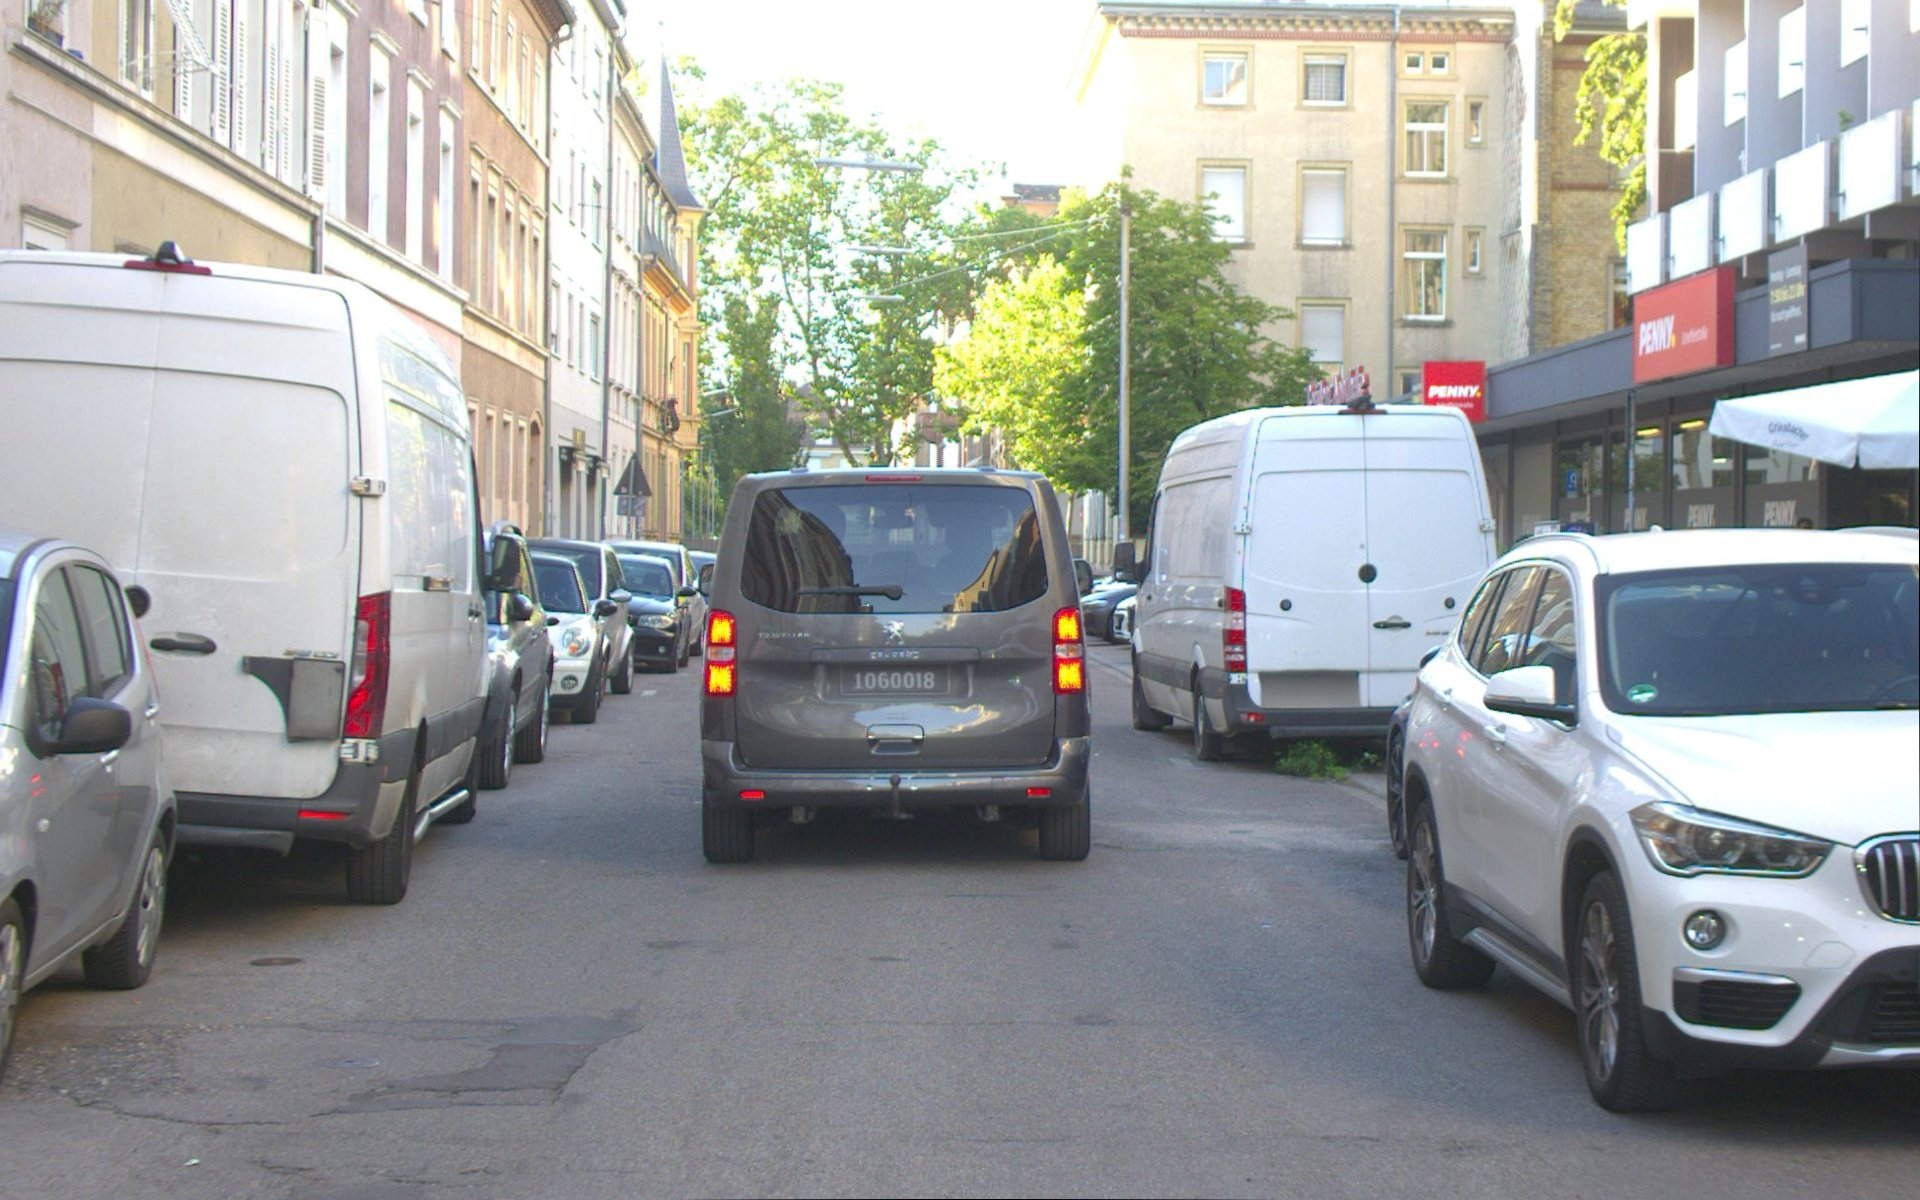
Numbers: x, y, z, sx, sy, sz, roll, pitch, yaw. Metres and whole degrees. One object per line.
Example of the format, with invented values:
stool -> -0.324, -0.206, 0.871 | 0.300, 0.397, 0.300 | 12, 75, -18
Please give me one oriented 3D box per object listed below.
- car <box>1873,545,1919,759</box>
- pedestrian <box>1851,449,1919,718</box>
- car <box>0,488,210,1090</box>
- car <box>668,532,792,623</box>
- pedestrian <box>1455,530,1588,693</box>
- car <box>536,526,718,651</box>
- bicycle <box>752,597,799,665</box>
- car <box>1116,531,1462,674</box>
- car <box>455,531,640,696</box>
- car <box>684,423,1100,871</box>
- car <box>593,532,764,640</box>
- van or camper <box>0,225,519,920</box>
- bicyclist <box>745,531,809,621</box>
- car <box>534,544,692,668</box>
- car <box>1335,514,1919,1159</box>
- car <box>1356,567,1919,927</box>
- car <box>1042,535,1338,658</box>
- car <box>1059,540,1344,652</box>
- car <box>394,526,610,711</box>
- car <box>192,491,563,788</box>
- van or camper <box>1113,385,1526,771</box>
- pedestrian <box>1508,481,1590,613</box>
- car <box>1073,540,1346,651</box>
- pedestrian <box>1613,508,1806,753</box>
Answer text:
car -> 7.407, 0.335, 24.004 | 1.602, 1.411, 3.225 | 1, 1, 22
pedestrian -> 7.900, -0.138, 27.951 | 0.872, 2.137, 0.956 | 0, 1, -17
car -> -3.491, 0.491, 10.689 | 1.590, 1.680, 3.653 | 2, 1, -2
car -> -4.207, -0.434, 62.696 | 2.144, 1.555, 4.585 | 1, 1, -4
pedestrian -> 6.019, 0.107, 36.848 | 0.932, 1.714, 1.063 | -1, 1, -35
car -> -4.563, -0.187, 47.755 | 1.993, 1.599, 4.585 | 2, 1, 1
bicycle -> -3.230, 0.536, 60.184 | 0.621, 1.134, 2.257 | 0, 1, 2
car -> 4.583, 0.018, 48.392 | 4.569, 1.852, 2.000 | 2, 1, -2
car -> -4.037, 0.107, 33.966 | 1.386, 1.527, 2.749 | 2, 1, 2
car -> -0.371, 0.177, 17.586 | 1.857, 2.007, 4.000 | -1, 1, -2
car -> -4.335, -0.241, 53.660 | 1.994, 1.555, 4.584 | 2, 1, 4
van or camper -> -3.383, -0.158, 16.650 | 1.949, 2.640, 7.142 | 0, 1, -3
bicyclist -> -3.217, -0.429, 60.578 | 1.034, 1.572, 0.833 | 0, 1, 3
car -> -4.276, 0.038, 42.848 | 1.788, 1.393, 4.468 | 2, 1, -4
car -> 2.460, 0.577, 10.925 | 1.722, 1.606, 4.589 | 1, 1, -4
car -> 3.037, 0.561, 15.815 | 1.722, 1.383, 4.295 | -1, 1, -3
car -> 3.727, -0.063, 56.015 | 4.472, 1.852, 1.885 | 1, 1, -8
car -> 4.153, -0.079, 59.564 | 4.568, 1.786, 2.001 | 1, 1, -8
car -> -3.991, 0.121, 30.415 | 1.710, 1.492, 3.856 | 1, 1, -5
car -> -3.751, 0.204, 22.846 | 1.863, 1.745, 4.294 | 2, 1, -2
van or camper -> 2.592, -0.200, 26.932 | 2.099, 2.593, 7.513 | 0, 1, -3
pedestrian -> 8.796, -0.797, 51.322 | 1.087, 1.938, 0.871 | 1, 1, 17
car -> 4.497, -0.088, 62.277 | 4.568, 1.852, 2.001 | 1, 1, -8
pedestrian -> 4.920, 0.184, 22.609 | 0.870, 1.550, 0.876 | -2, 1, -23
